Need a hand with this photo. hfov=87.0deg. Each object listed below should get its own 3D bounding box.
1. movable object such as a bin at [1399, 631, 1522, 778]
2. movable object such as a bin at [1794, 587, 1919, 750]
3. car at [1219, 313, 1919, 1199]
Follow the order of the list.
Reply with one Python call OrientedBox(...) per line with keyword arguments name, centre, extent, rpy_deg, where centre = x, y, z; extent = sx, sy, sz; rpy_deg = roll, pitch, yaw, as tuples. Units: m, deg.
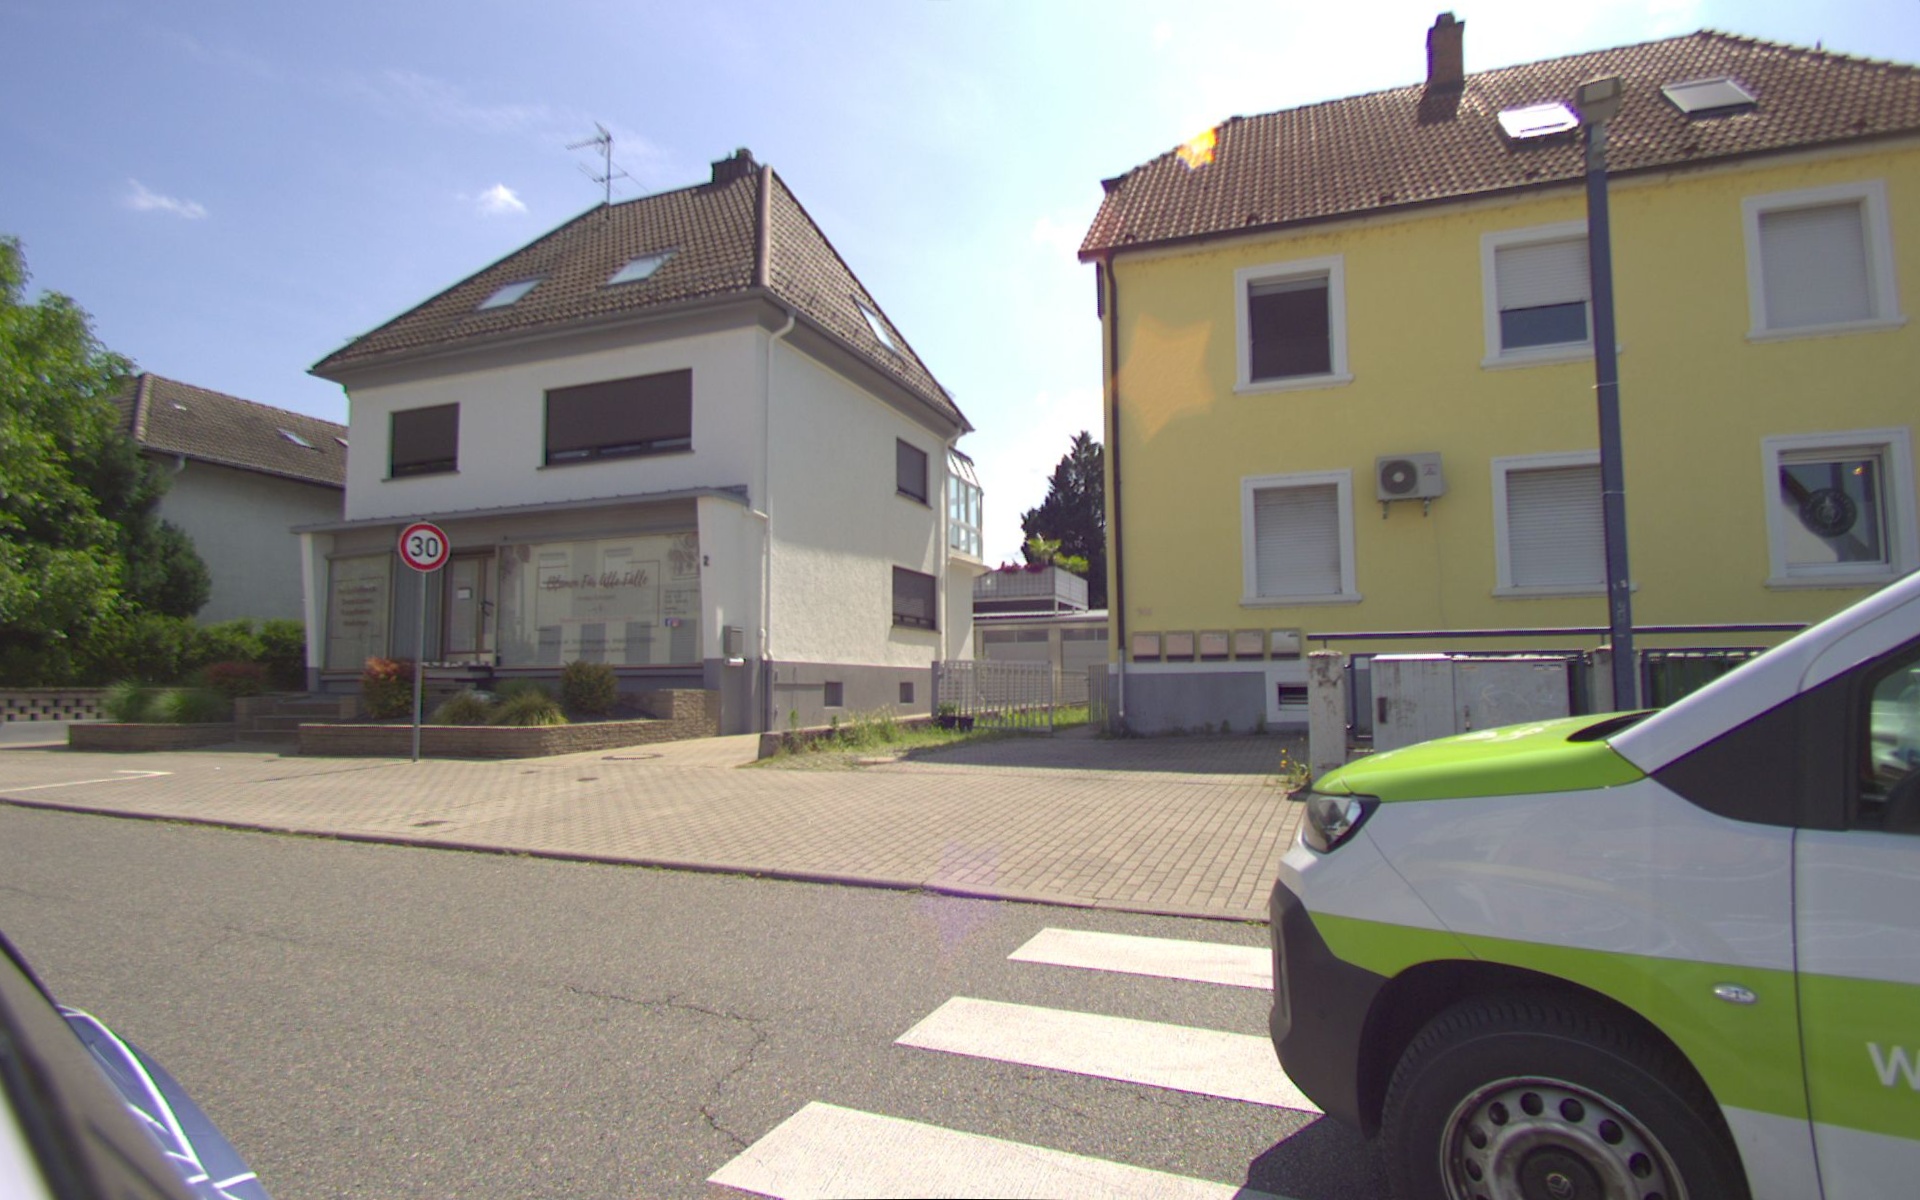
OrientedBox(name="movable object such as a bin", centre=(4.462, 0.918, 9.100), extent=(0.896, 1.235, 0.881), rpy_deg=(-3, -4, 24))
OrientedBox(name="movable object such as a bin", centre=(7.589, 0.531, 7.956), extent=(1.262, 1.223, 0.840), rpy_deg=(-1, -4, 9))
OrientedBox(name="car", centre=(2.745, 0.446, 1.232), extent=(1.788, 1.869, 4.570), rpy_deg=(-2, -1, -35))
